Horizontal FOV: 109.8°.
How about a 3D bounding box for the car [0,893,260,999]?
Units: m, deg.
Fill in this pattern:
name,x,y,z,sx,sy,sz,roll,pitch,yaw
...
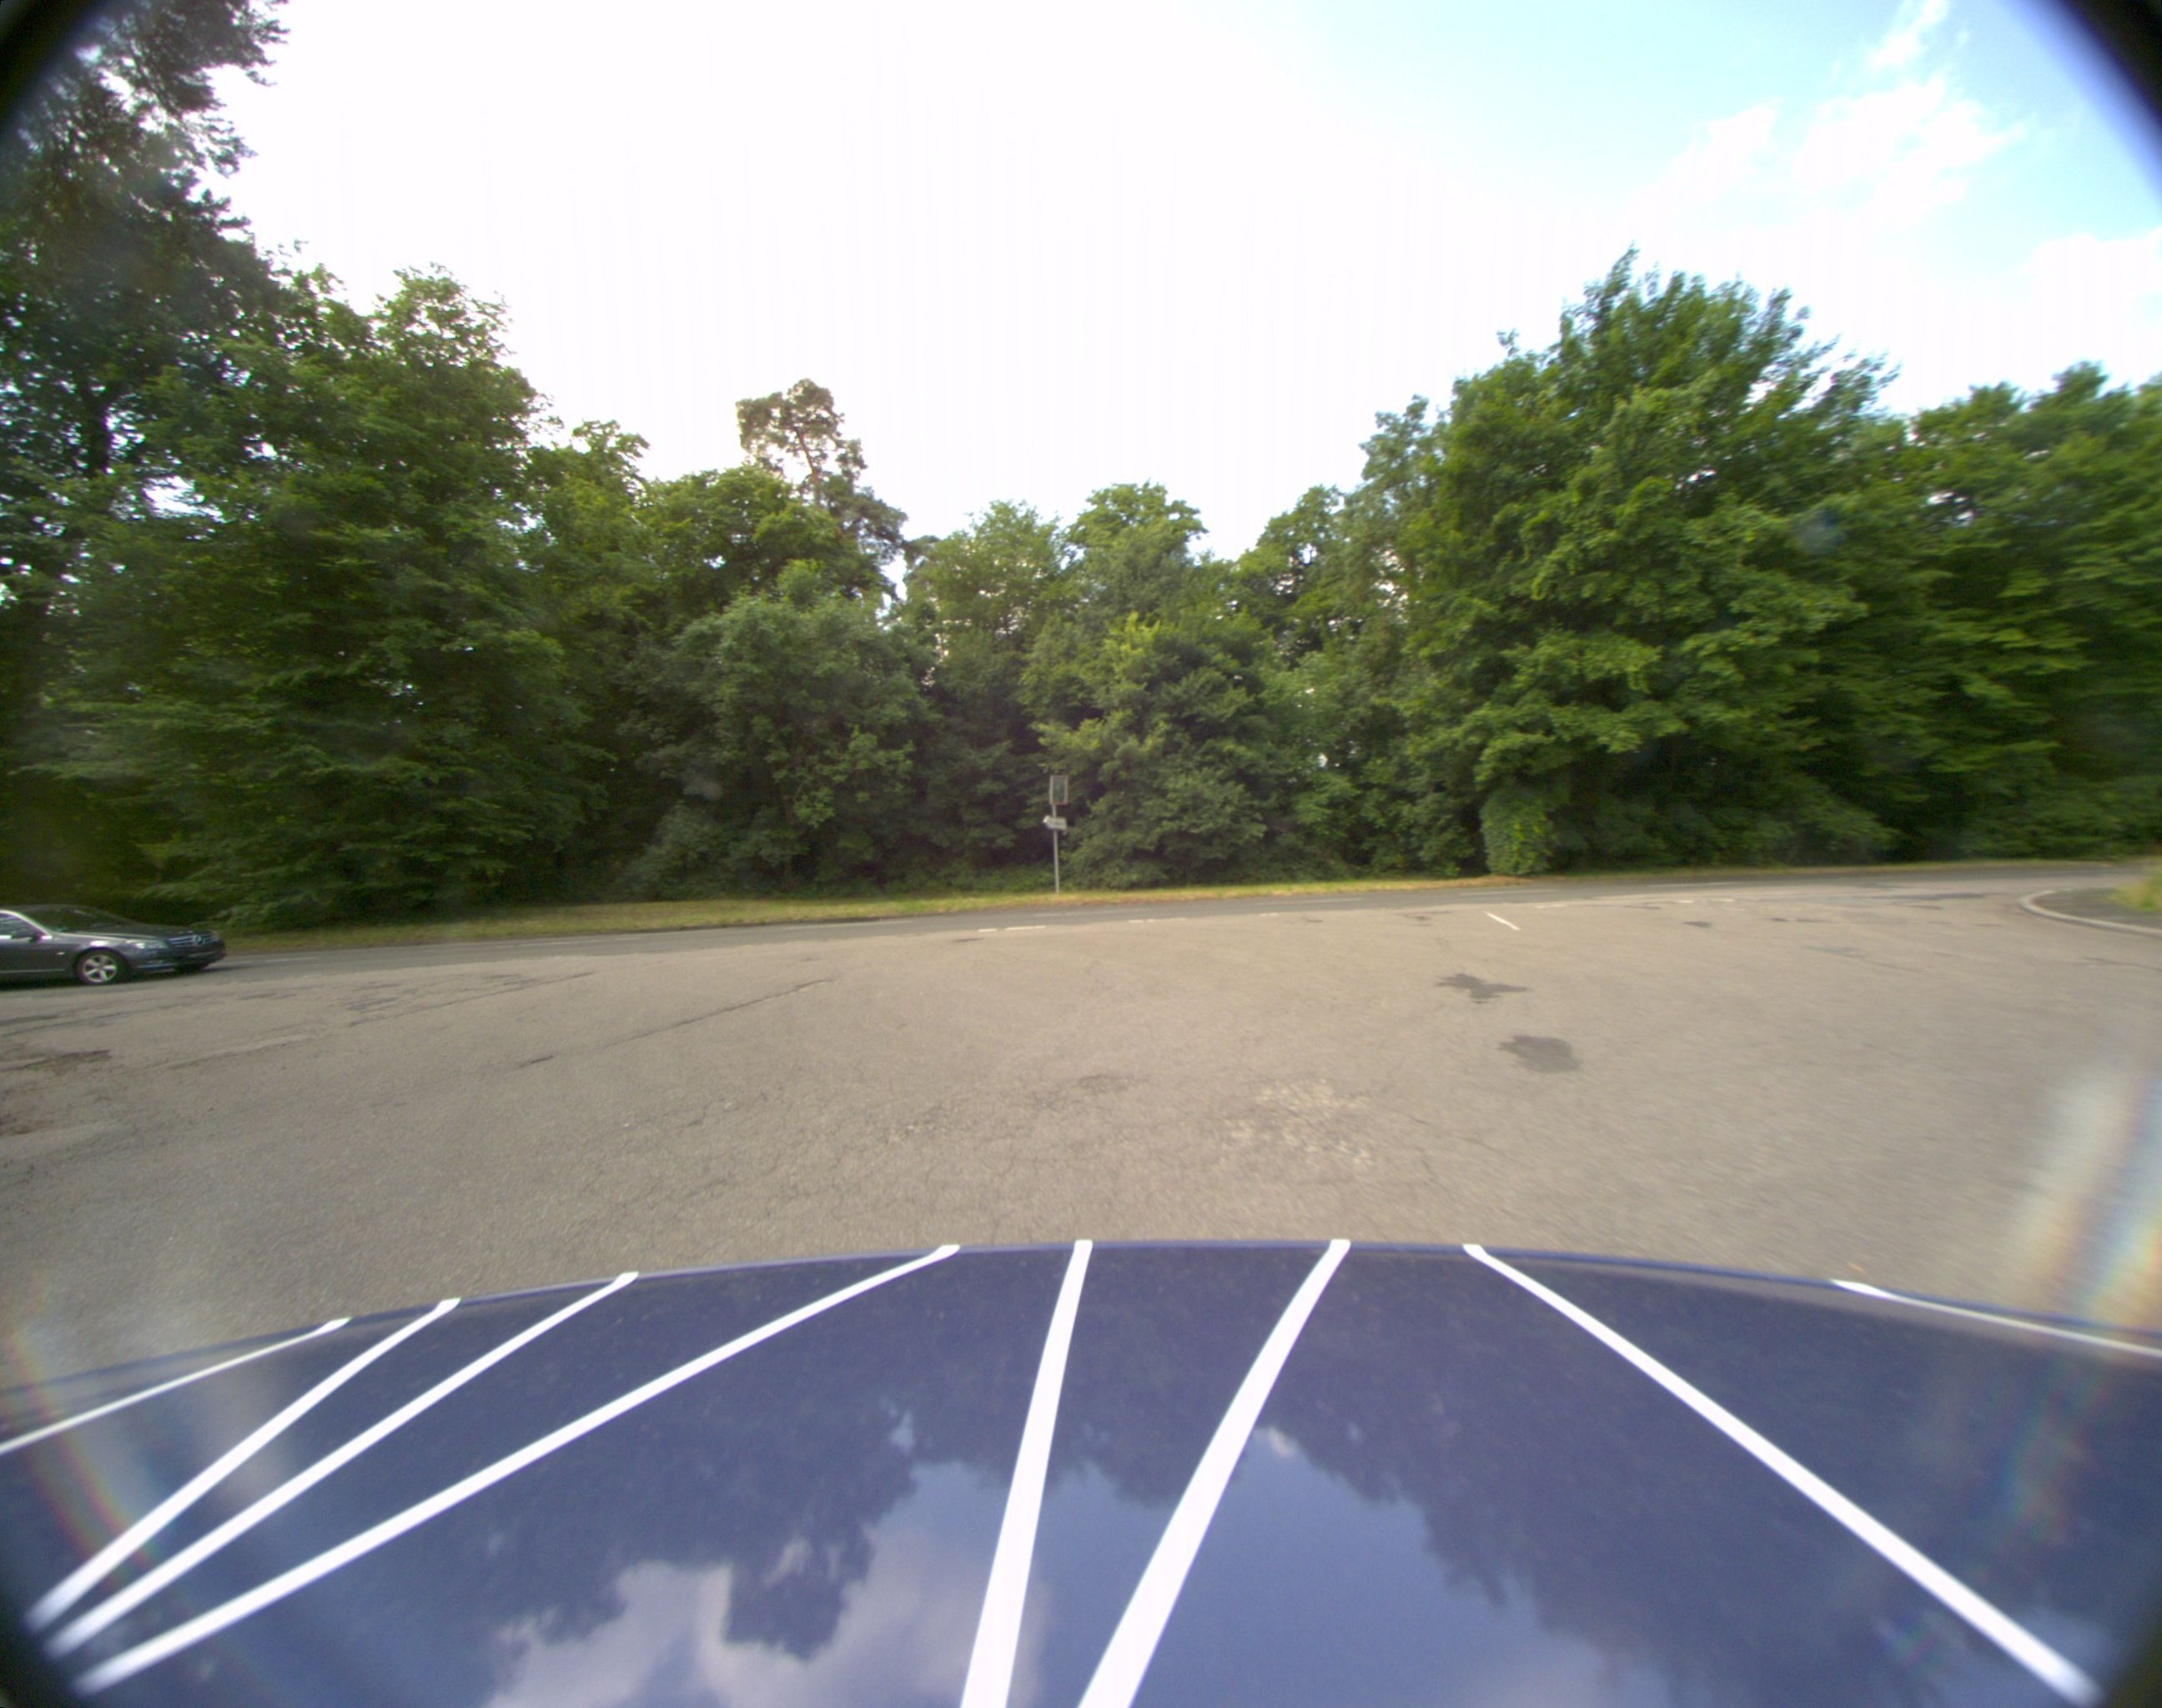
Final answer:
name,x,y,z,sx,sy,sz,roll,pitch,yaw
car,-18.038,1.631,13.312,4.530,1.456,1.964,-3,2,-13
